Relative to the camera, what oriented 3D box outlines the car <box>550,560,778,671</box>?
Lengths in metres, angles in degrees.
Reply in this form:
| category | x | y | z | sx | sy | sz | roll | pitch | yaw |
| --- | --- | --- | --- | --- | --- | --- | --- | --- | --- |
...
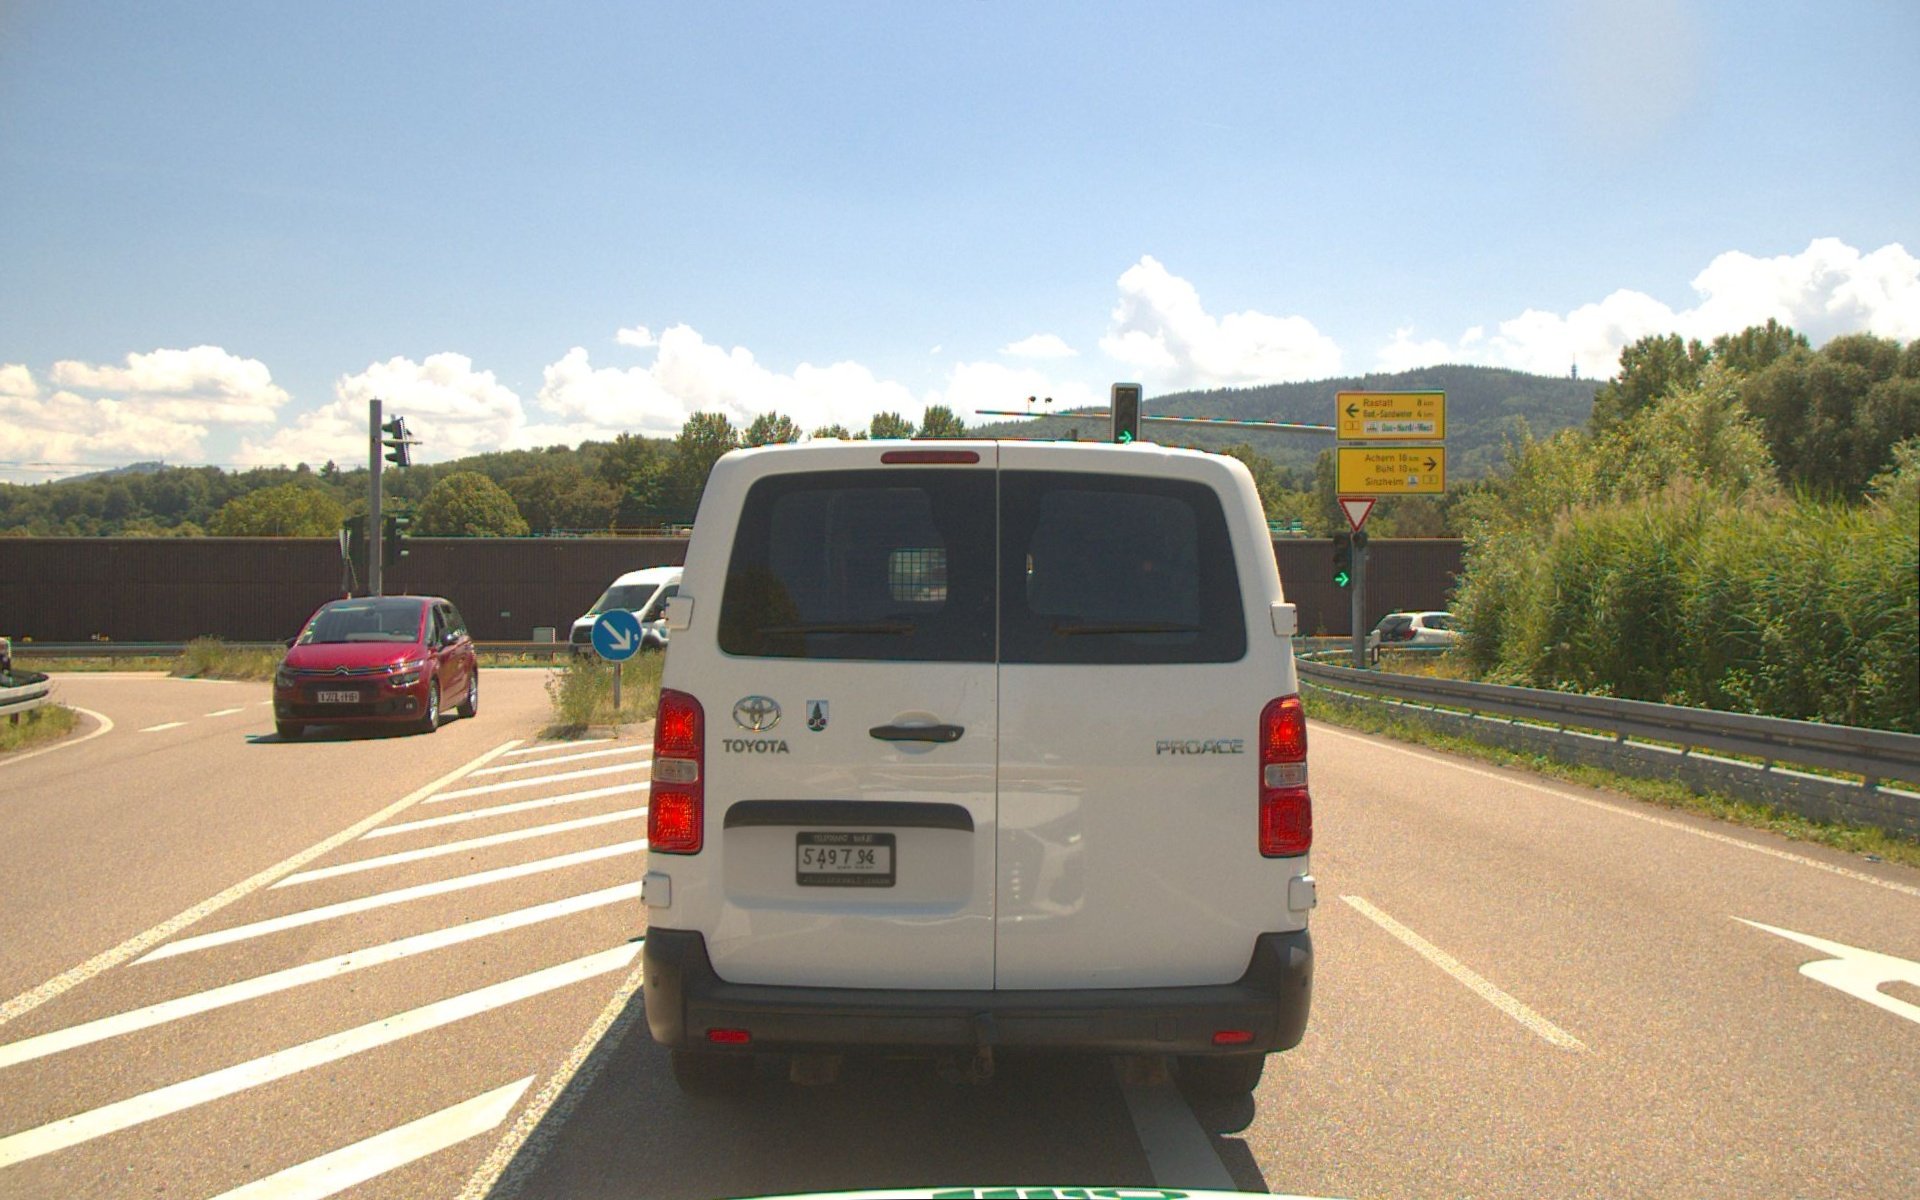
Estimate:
| category | x | y | z | sx | sy | sz | roll | pitch | yaw |
| --- | --- | --- | --- | --- | --- | --- | --- | --- | --- |
| car | -6.897 | 0.311 | 39.221 | 1.959 | 2.458 | 5.572 | -2 | 0 | 34 |

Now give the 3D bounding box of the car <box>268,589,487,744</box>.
| category | x | y | z | sx | sy | sz | roll | pitch | yaw |
| --- | --- | --- | --- | --- | --- | --- | --- | --- | --- |
| car | -7.210 | 0.761 | 20.884 | 1.703 | 1.715 | 4.202 | -1 | 0 | -7 |

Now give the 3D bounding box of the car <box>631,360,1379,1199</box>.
| category | x | y | z | sx | sy | sz | roll | pitch | yaw |
| --- | --- | --- | --- | --- | --- | --- | --- | --- | --- |
| car | 0.085 | 0.468 | 5.941 | 1.778 | 2.053 | 3.999 | 0 | 0 | -1 |

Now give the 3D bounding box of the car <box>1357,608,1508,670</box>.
| category | x | y | z | sx | sy | sz | roll | pitch | yaw |
| --- | --- | --- | --- | --- | --- | --- | --- | --- | --- |
| car | 11.948 | 0.993 | 41.833 | 3.548 | 1.504 | 1.556 | 1 | 0 | -26 |
